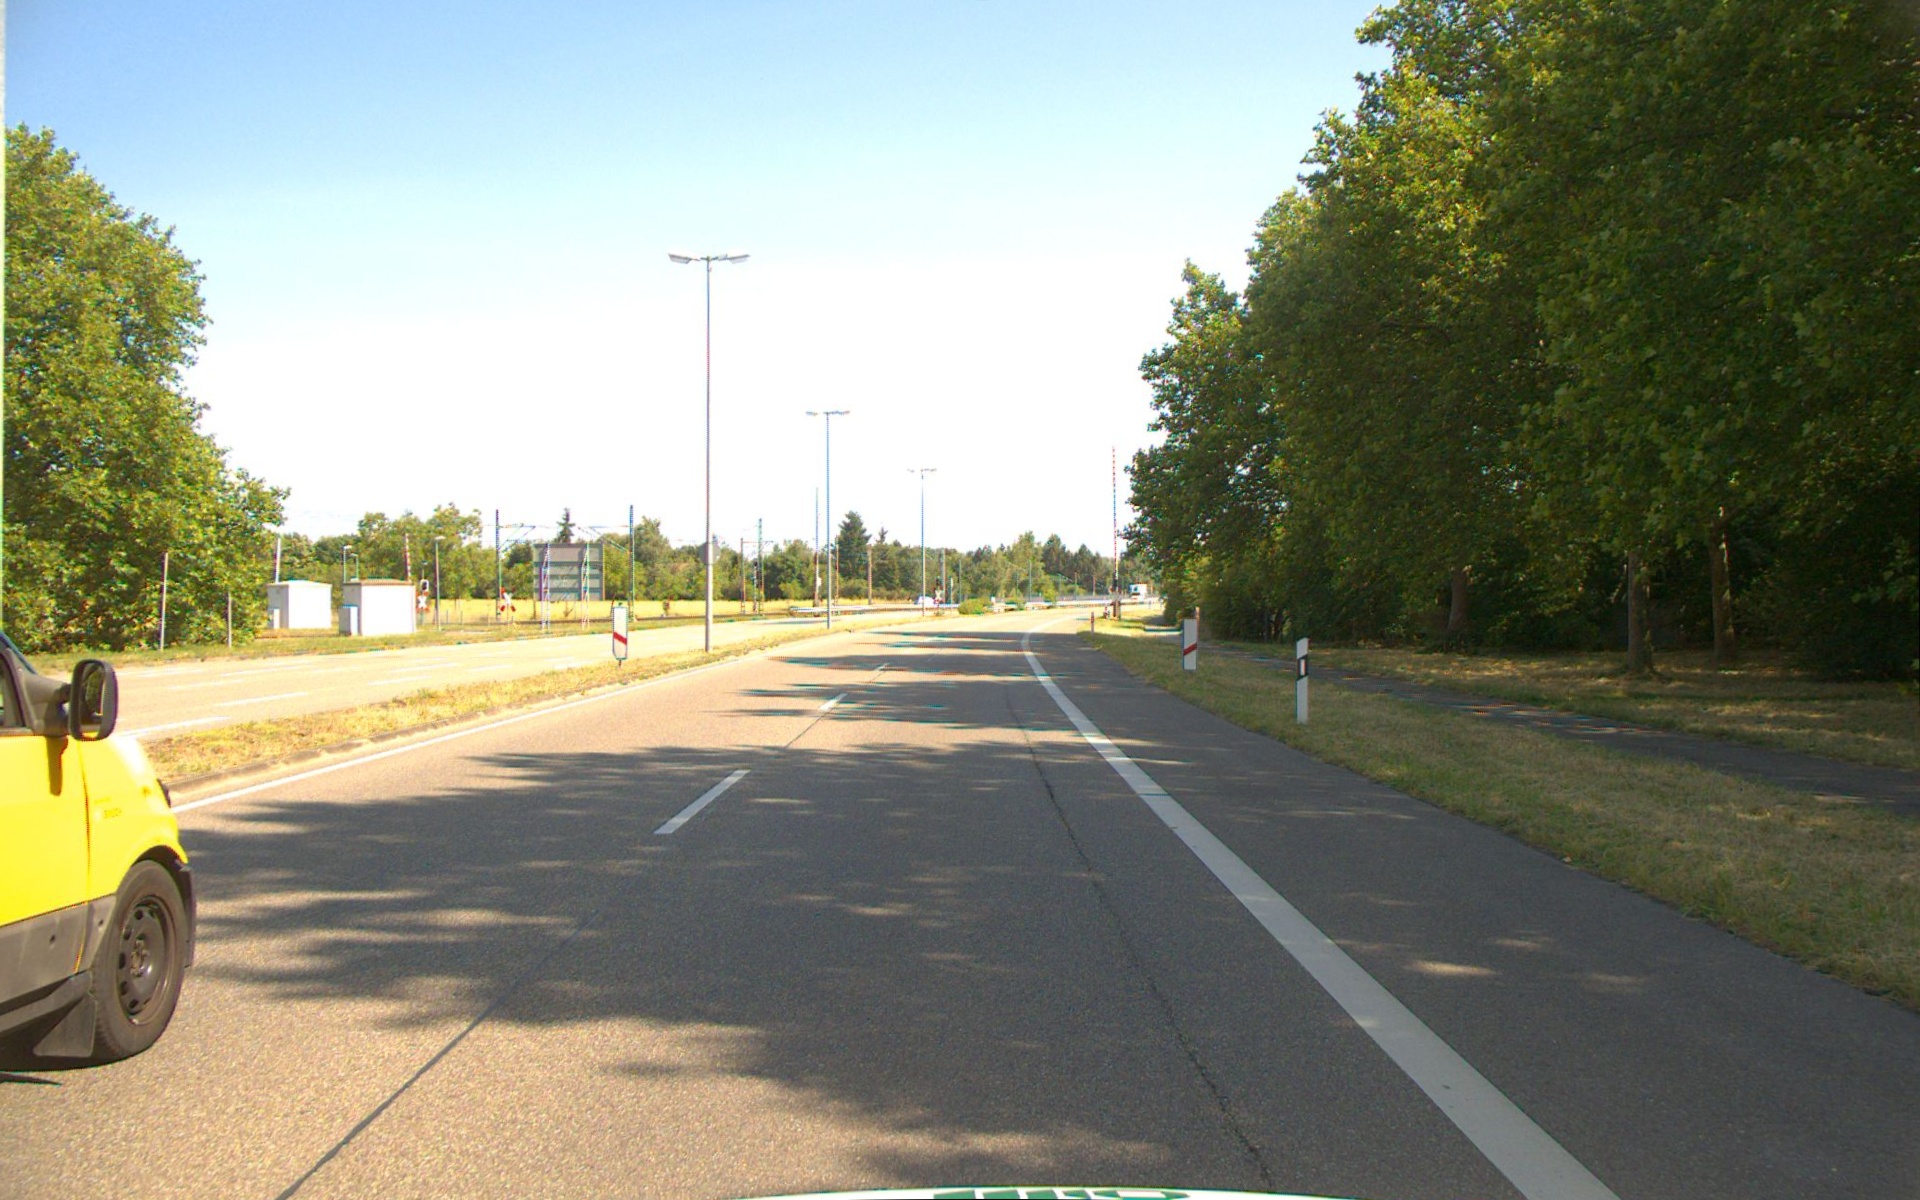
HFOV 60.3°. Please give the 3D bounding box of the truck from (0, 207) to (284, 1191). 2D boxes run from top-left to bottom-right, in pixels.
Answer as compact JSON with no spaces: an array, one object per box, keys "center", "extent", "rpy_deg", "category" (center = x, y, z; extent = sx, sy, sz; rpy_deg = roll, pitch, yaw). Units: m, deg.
[{"center":[-3.432,0.246,3.087],"extent":[2.069,2.500,5.914],"rpy_deg":[1,0,-2],"category":"truck"}]
